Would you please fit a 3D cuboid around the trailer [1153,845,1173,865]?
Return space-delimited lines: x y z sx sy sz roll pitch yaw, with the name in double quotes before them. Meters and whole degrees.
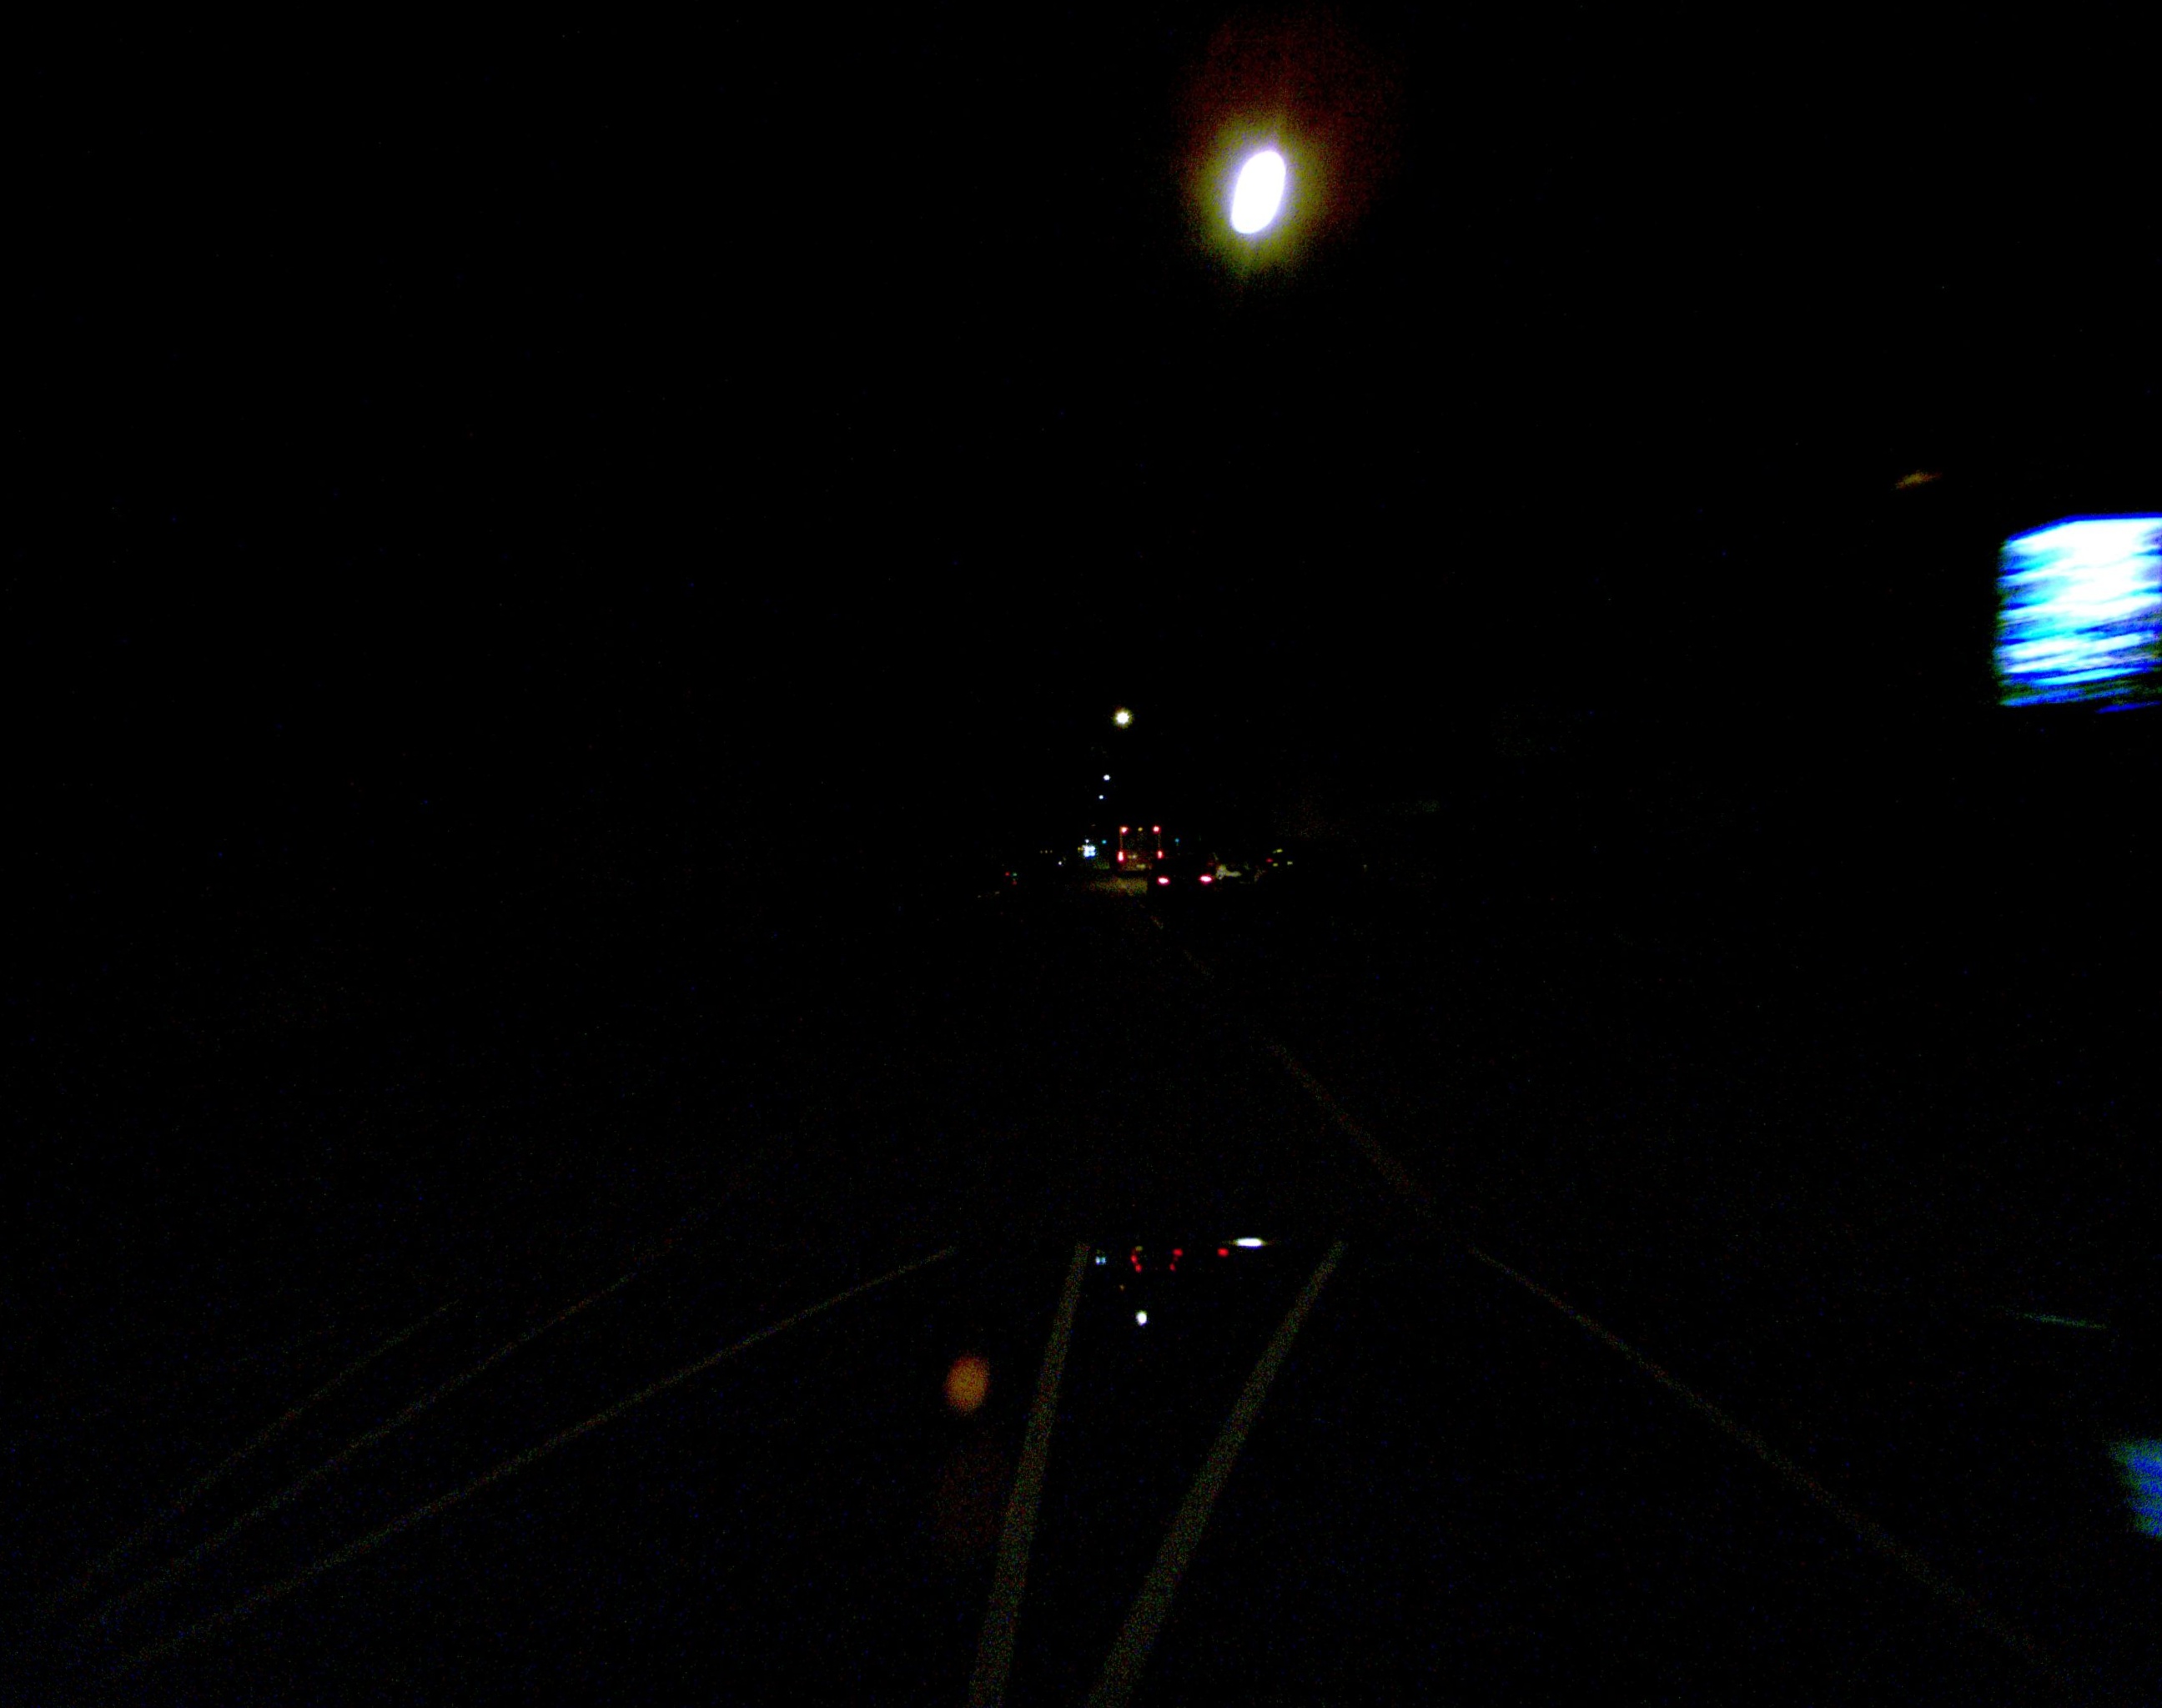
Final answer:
"trailer" 7.116 0.066 66.038 1.641 1.630 3.439 -2 2 5

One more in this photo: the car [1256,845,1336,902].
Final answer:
"car" 6.237 0.522 22.278 1.642 1.489 2.765 -1 2 2

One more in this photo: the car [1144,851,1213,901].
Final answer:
"car" 2.989 0.632 23.994 1.650 1.414 3.870 -1 0 0

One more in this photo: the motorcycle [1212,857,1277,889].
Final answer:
"motorcycle" 5.985 0.674 27.824 2.203 1.124 0.717 -1 1 34

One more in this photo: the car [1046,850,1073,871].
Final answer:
"car" -1.576 0.475 57.396 1.850 1.409 4.644 2 1 0

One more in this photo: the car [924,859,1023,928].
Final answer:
"car" -2.486 0.867 18.562 1.767 1.467 4.080 0 0 1

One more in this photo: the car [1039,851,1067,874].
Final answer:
"car" -1.863 0.576 51.777 1.775 1.440 4.018 -1 1 0

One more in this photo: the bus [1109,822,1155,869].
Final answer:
"bus" 3.728 -0.641 57.674 2.844 3.159 10.497 -2 0 1

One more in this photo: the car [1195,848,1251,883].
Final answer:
"car" 6.236 0.464 33.778 1.708 1.483 4.227 0 0 0

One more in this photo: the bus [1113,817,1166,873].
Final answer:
"bus" 3.585 -0.558 48.584 2.844 3.159 7.660 -2 0 1

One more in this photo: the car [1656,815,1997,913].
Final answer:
"car" 13.280 0.153 13.766 4.236 1.496 1.873 -2 1 3

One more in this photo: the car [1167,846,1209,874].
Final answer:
"car" 6.464 0.329 46.287 1.868 1.483 4.279 -2 1 0

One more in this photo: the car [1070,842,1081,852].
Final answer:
"car" -1.011 -1.341 144.093 1.916 1.816 4.898 -1 1 -2

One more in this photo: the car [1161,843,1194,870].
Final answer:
"car" 6.856 0.151 54.275 1.998 1.740 4.000 -2 2 3

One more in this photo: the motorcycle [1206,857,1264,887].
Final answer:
"motorcycle" 6.019 0.684 29.801 0.717 1.140 2.203 -2 1 -42

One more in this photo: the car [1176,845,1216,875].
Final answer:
"car" 6.287 0.313 41.895 1.625 1.483 3.779 -2 1 0
